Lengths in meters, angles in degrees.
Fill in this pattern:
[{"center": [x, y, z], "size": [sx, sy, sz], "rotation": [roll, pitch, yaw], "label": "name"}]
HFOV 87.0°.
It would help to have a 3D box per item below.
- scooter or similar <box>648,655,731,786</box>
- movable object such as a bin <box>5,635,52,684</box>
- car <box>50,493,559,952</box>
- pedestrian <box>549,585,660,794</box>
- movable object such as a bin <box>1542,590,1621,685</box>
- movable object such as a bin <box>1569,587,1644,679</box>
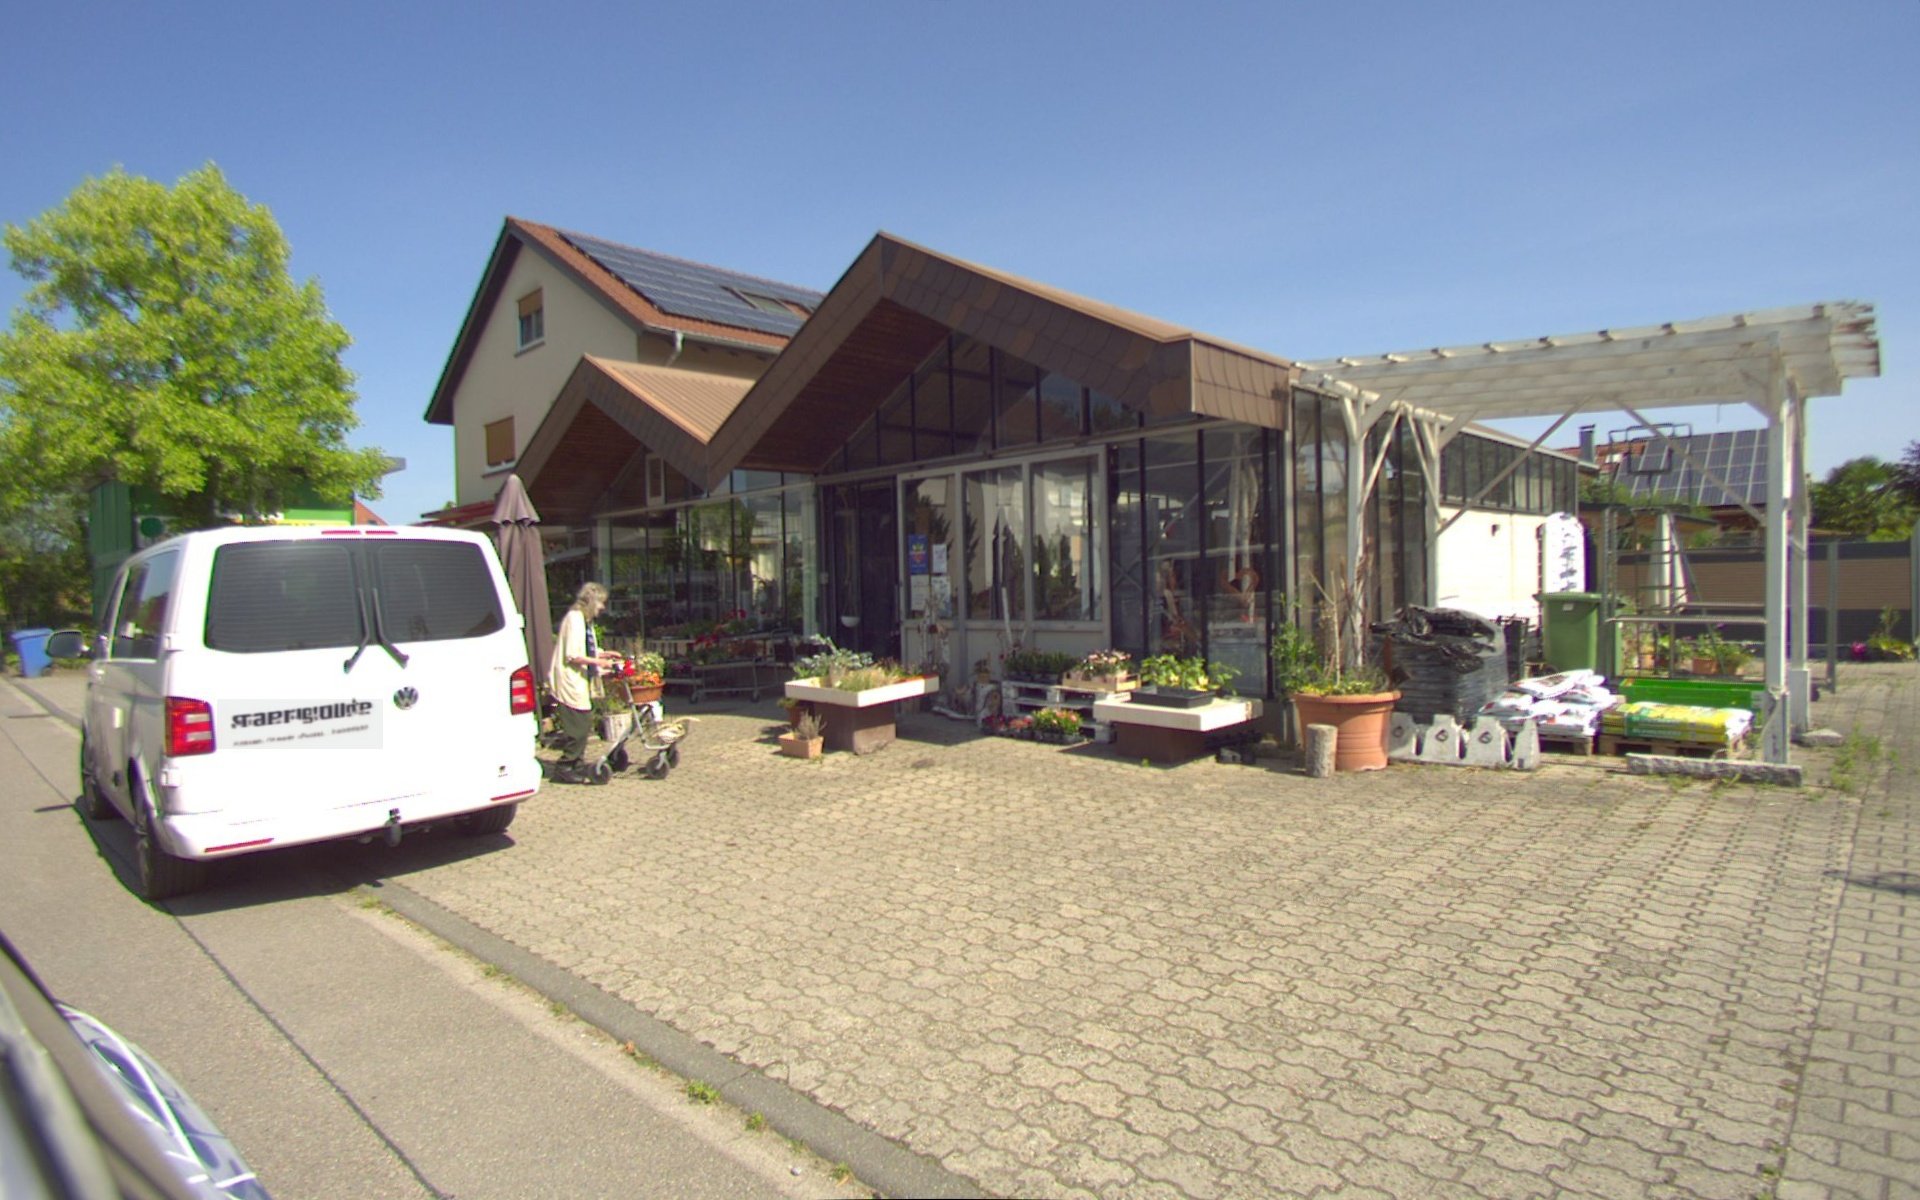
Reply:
[{"center": [-2.166, 0.947, 8.155], "size": [0.592, 0.953, 0.622], "rotation": [-2, 0, -13], "label": "scooter or similar"}, {"center": [-21.697, 1.384, 23.564], "size": [0.612, 1.062, 0.723], "rotation": [-1, 2, 43], "label": "movable object such as a bin"}, {"center": [-4.732, 0.551, 6.895], "size": [1.907, 2.029, 4.898], "rotation": [-2, 1, -45], "label": "car"}, {"center": [-2.796, 0.674, 8.013], "size": [0.707, 1.550, 0.643], "rotation": [-2, 0, -13], "label": "pedestrian"}, {"center": [7.403, 0.433, 12.050], "size": [0.714, 1.076, 0.799], "rotation": [-2, 0, 37], "label": "movable object such as a bin"}, {"center": [8.045, 0.396, 12.584], "size": [0.714, 1.076, 0.799], "rotation": [-2, 0, 37], "label": "movable object such as a bin"}]
